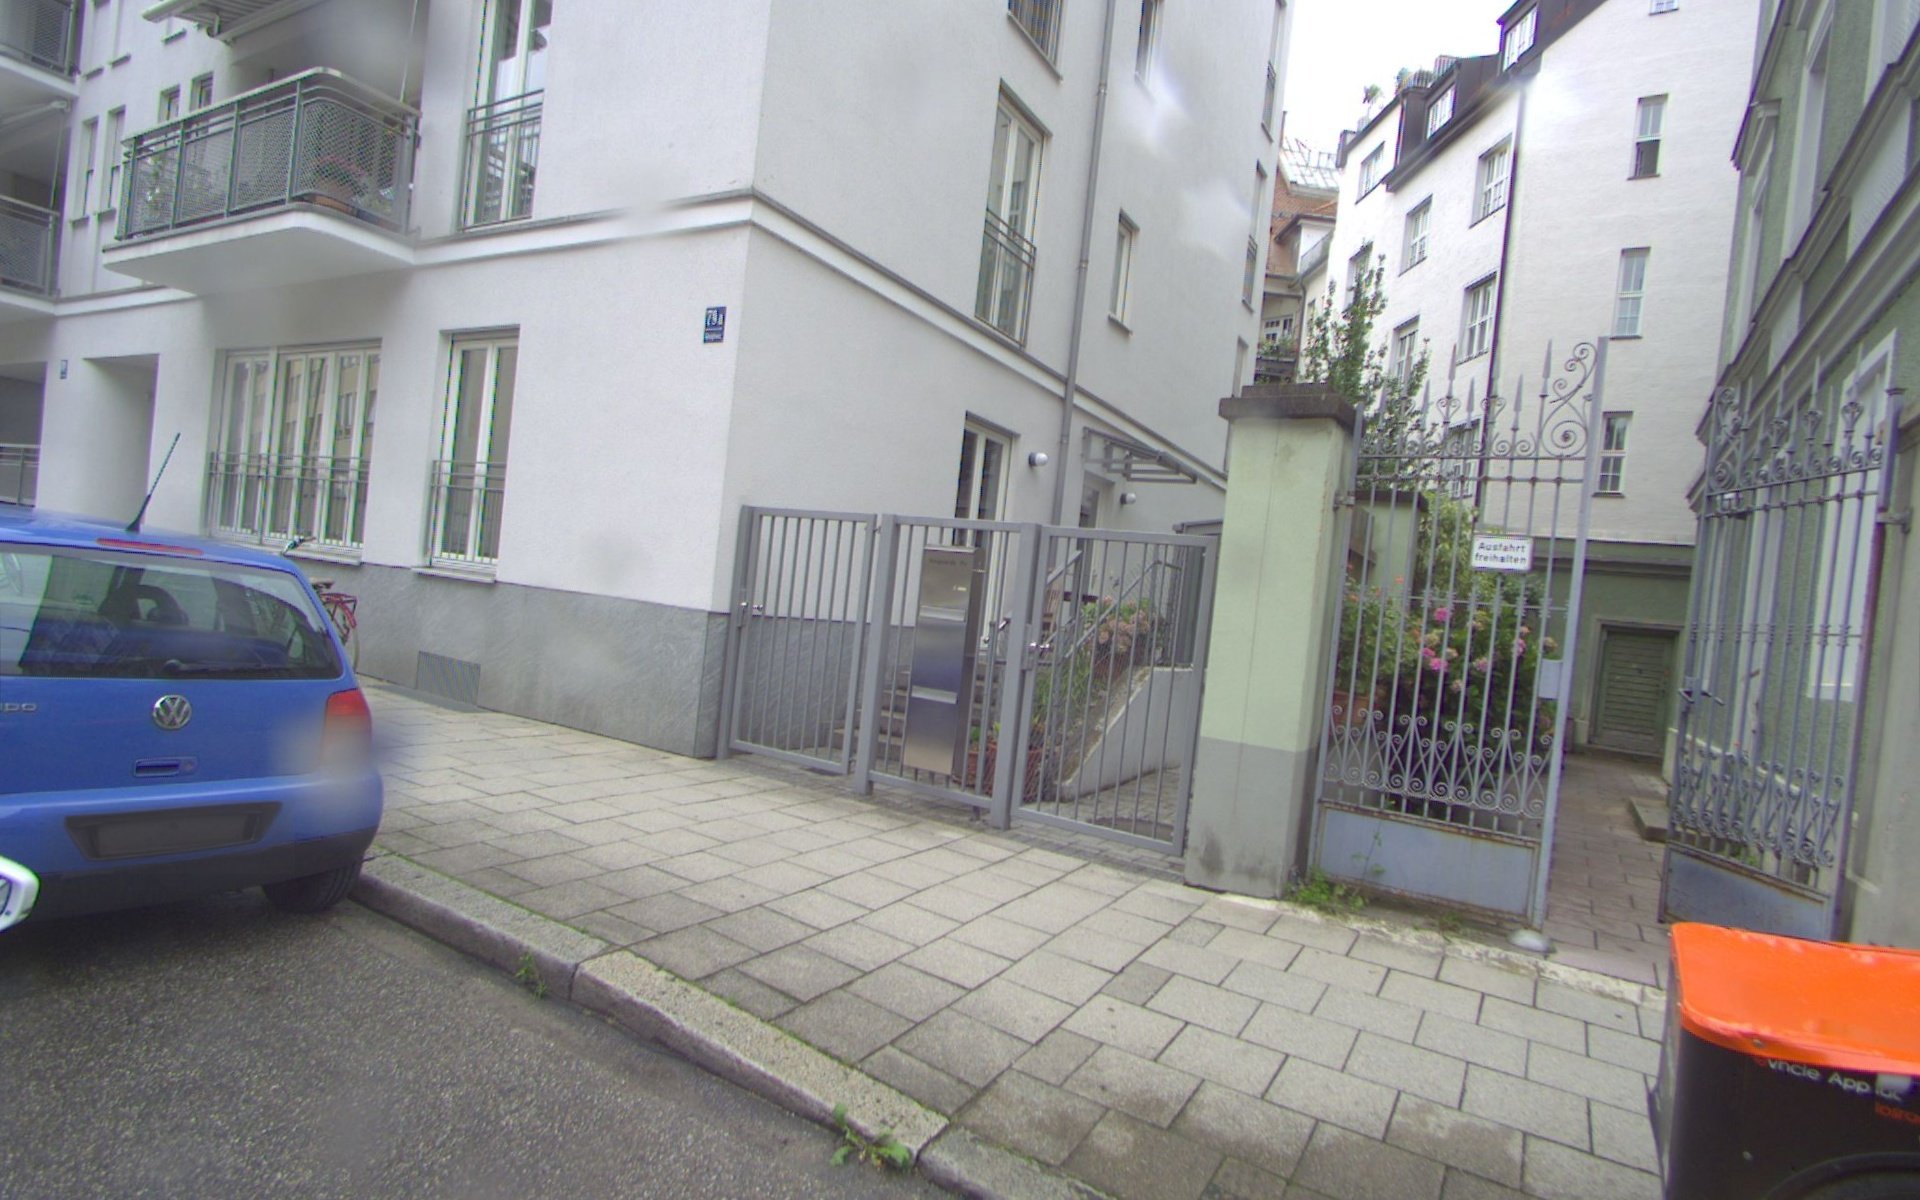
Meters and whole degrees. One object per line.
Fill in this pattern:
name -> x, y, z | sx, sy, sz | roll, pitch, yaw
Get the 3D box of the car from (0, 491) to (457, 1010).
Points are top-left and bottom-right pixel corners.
car -> -3.925, 0.310, 4.008 | 3.493, 1.428, 1.623 | 6, -2, 29

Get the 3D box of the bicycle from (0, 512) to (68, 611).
bicycle -> -12.784, -0.562, 13.395 | 2.091, 1.175, 0.628 | 7, 1, 29

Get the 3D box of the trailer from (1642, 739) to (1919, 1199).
trailer -> 2.576, 1.072, 1.812 | 2.130, 1.200, 0.940 | 7, 4, 36

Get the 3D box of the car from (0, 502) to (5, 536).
car -> -7.701, -0.119, 5.994 | 4.135, 1.456, 1.662 | 7, -2, 29

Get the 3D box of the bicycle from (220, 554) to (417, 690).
bicycle -> -5.772, 0.183, 9.024 | 1.804, 1.041, 0.678 | 5, 0, 30
